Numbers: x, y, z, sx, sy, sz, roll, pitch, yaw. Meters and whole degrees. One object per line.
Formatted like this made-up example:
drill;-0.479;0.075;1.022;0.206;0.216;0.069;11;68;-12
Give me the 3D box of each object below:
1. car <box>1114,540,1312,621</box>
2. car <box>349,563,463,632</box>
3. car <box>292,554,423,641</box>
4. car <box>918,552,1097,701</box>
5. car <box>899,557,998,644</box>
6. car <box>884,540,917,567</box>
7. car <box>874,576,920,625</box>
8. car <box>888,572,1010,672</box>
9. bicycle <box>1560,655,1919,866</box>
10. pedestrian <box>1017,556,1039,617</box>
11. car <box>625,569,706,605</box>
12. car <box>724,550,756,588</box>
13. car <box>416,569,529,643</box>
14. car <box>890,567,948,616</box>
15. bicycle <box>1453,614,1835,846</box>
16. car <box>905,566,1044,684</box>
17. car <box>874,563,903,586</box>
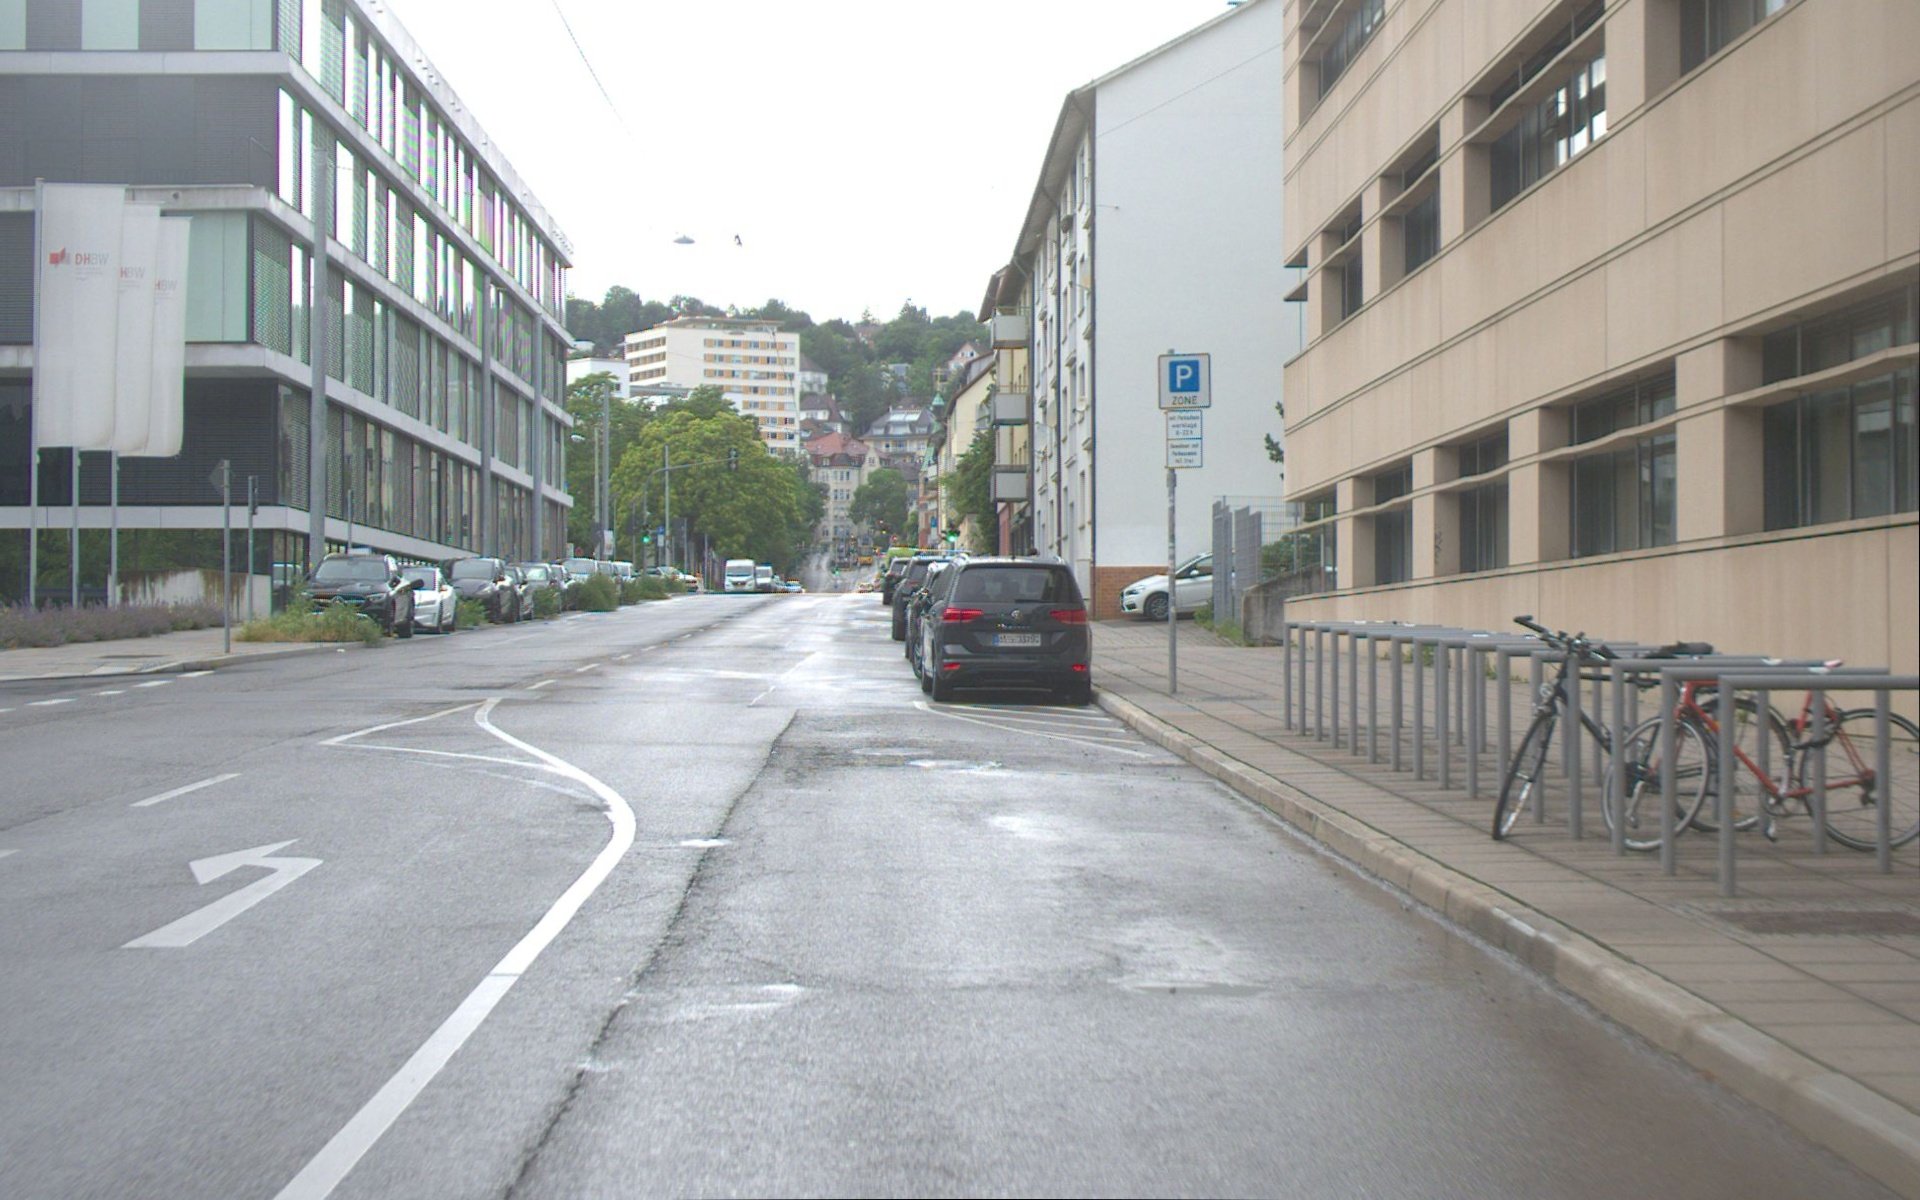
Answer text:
car;5.954;-0.461;81.290;4.437;1.707;1.905;-3;0;-2
car;-11.933;-0.074;74.299;1.821;1.414;4.402;1;0;-1
car;-11.797;-0.055;67.597;1.849;1.612;4.491;1;0;-1
car;0.497;0.280;39.778;1.771;1.598;4.395;1;0;-3
car;-0.268;0.000;72.442;1.935;1.744;4.797;1;0;-2
car;-3.686;-2.884;214.450;1.867;1.598;4.189;1;0;2
car;-2.347;-0.001;127.348;1.654;1.732;4.180;1;1;-2
car;-0.216;0.327;55.812;1.743;1.528;4.320;1;0;-3
bicycle;3.748;0.738;16.032;1.758;0.950;0.660;0;0;-4
pedestrian;2.086;-0.426;105.926;0.639;1.864;0.538;1;0;1
car;-15.352;-0.665;179.271;4.201;1.663;1.637;-2;-4;38
car;-14.991;-2.079;234.548;2.105;2.538;4.751;1;0;-4
car;-11.940;0.128;84.445;1.963;1.744;4.942;1;0;1
car;-1.285;-0.272;106.937;1.706;1.449;3.985;1;0;-2
bicycle;3.371;0.631;17.005;1.729;1.115;0.660;0;0;-6
car;0.159;0.336;48.079;1.725;1.507;4.058;2;0;-2
car;-5.143;-1.854;249.158;1.867;1.598;4.189;1;0;2
